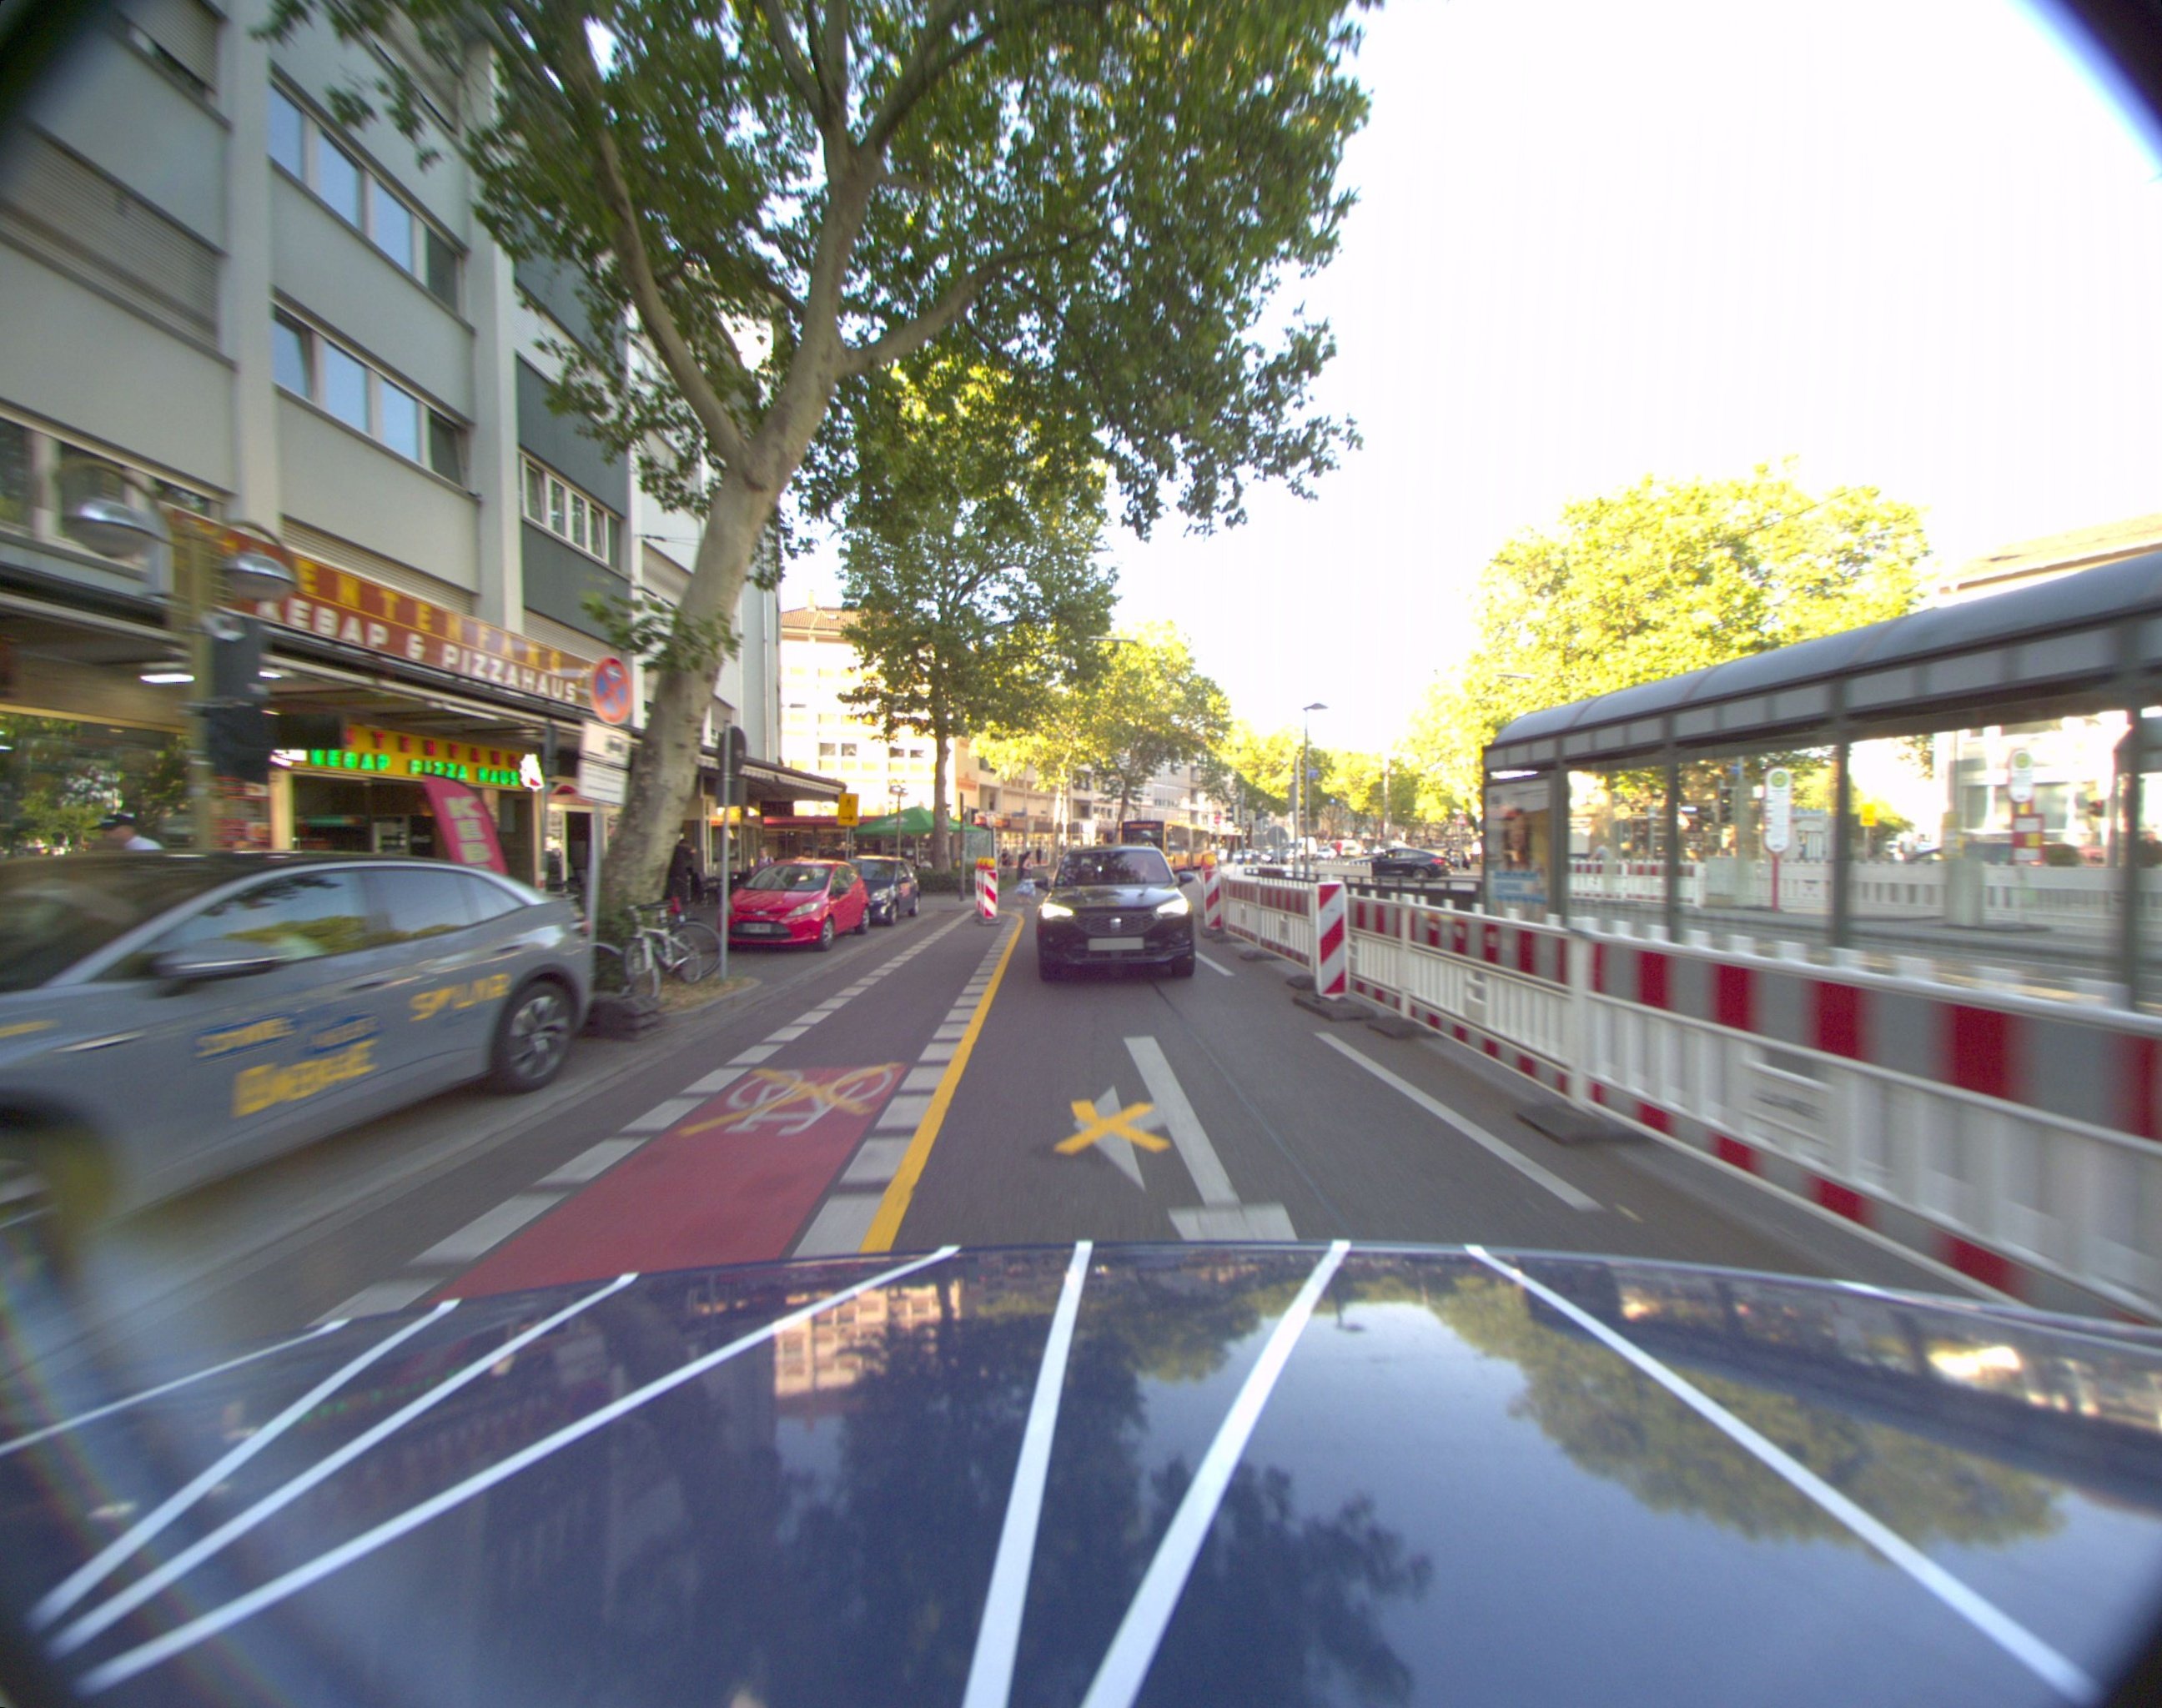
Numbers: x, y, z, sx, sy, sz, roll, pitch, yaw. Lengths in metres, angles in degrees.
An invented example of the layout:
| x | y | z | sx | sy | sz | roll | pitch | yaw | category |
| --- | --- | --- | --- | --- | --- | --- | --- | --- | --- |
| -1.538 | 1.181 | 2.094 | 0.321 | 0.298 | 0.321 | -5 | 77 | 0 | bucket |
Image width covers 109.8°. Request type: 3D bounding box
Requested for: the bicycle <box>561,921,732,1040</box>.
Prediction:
| x | y | z | sx | sy | sz | roll | pitch | yaw | category |
| --- | --- | --- | --- | --- | --- | --- | --- | --- | --- |
| -4.437 | 1.249 | 7.961 | 0.625 | 0.879 | 2.039 | 2 | 1 | 0 | bicycle |

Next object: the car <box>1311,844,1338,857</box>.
| x | y | z | sx | sy | sz | roll | pitch | yaw | category |
| --- | --- | --- | --- | --- | --- | --- | --- | --- | --- |
| 29.519 | -0.417 | 91.940 | 1.994 | 1.587 | 4.008 | 0 | 1 | 36 | car |

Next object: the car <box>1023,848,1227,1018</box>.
| x | y | z | sx | sy | sz | roll | pitch | yaw | category |
| --- | --- | --- | --- | --- | --- | --- | --- | --- | --- |
| 0.420 | 0.769 | 9.709 | 1.999 | 1.638 | 4.203 | -2 | 1 | -1 | car |

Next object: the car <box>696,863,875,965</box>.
| x | y | z | sx | sy | sz | roll | pitch | yaw | category |
| --- | --- | --- | --- | --- | --- | --- | --- | --- | --- |
| -4.937 | 0.924 | 13.303 | 1.735 | 1.434 | 3.982 | 1 | 0 | -3 | car |

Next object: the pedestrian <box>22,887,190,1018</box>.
| x | y | z | sx | sy | sz | roll | pitch | yaw | category |
| --- | --- | --- | --- | --- | --- | --- | --- | --- | --- |
| -9.353 | 0.920 | 7.320 | 0.677 | 1.170 | 0.710 | 0 | 1 | 0 | pedestrian |

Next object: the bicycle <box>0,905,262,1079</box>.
| x | y | z | sx | sy | sz | roll | pitch | yaw | category |
| --- | --- | --- | --- | --- | --- | --- | --- | --- | --- |
| -8.150 | 1.054 | 6.059 | 0.778 | 1.097 | 2.267 | 2 | 1 | 0 | bicycle |

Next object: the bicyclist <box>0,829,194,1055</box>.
| x | y | z | sx | sy | sz | roll | pitch | yaw | category |
| --- | --- | --- | --- | --- | --- | --- | --- | --- | --- |
| -8.136 | 0.668 | 6.210 | 0.771 | 1.699 | 0.829 | 2 | 1 | 0 | bicyclist |

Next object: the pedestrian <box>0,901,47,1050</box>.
| x | y | z | sx | sy | sz | roll | pitch | yaw | category |
| --- | --- | --- | --- | --- | --- | --- | --- | --- | --- |
| -9.318 | 1.022 | 6.225 | 0.677 | 1.220 | 0.710 | 0 | 1 | -2 | pedestrian |

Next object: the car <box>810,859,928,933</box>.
| x | y | z | sx | sy | sz | roll | pitch | yaw | category |
| --- | --- | --- | --- | --- | --- | --- | --- | --- | --- |
| -4.784 | 0.879 | 17.642 | 1.659 | 1.471 | 3.800 | 1 | 0 | 0 | car |

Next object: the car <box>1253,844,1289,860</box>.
| x | y | z | sx | sy | sz | roll | pitch | yaw | category |
| --- | --- | --- | --- | --- | --- | --- | --- | --- | --- |
| 19.104 | -0.218 | 76.282 | 1.994 | 1.587 | 4.570 | 0 | 1 | 36 | car |

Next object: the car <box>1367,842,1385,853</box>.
| x | y | z | sx | sy | sz | roll | pitch | yaw | category |
| --- | --- | --- | --- | --- | --- | --- | --- | --- | --- |
| 44.110 | -1.017 | 113.551 | 1.702 | 1.578 | 3.714 | 0 | 1 | 34 | car |

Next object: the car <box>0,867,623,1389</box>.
| x | y | z | sx | sy | sz | roll | pitch | yaw | category |
| --- | --- | --- | --- | --- | --- | --- | --- | --- | --- |
| -4.523 | 0.928 | 3.641 | 1.923 | 1.588 | 4.789 | 1 | 0 | -3 | car |

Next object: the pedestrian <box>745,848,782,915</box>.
| x | y | z | sx | sy | sz | roll | pitch | yaw | category |
| --- | --- | --- | --- | --- | --- | --- | --- | --- | --- |
| -7.598 | 0.641 | 18.217 | 0.584 | 1.551 | 0.642 | 2 | 1 | 2 | pedestrian |

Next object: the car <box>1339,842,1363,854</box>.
| x | y | z | sx | sy | sz | roll | pitch | yaw | category |
| --- | --- | --- | --- | --- | --- | --- | --- | --- | --- |
| 36.211 | -0.759 | 101.763 | 1.994 | 1.586 | 4.008 | 0 | 0 | 35 | car |

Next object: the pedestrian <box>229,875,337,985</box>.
| x | y | z | sx | sy | sz | roll | pitch | yaw | category |
| --- | --- | --- | --- | --- | --- | --- | --- | --- | --- |
| -9.592 | 0.898 | 9.150 | 0.646 | 1.258 | 0.606 | 0 | 1 | 0 | pedestrian |

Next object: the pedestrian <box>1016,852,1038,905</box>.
| x | y | z | sx | sy | sz | roll | pitch | yaw | category |
| --- | --- | --- | --- | --- | --- | --- | --- | --- | --- |
| -1.597 | 0.721 | 22.520 | 0.623 | 1.551 | 0.471 | -1 | 1 | -1 | pedestrian |

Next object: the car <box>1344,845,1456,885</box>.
| x | y | z | sx | sy | sz | roll | pitch | yaw | category |
| --- | --- | --- | --- | --- | --- | --- | --- | --- | --- |
| 14.874 | 0.465 | 35.517 | 4.424 | 1.638 | 2.004 | 2 | 1 | 35 | car |

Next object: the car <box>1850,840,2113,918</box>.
| x | y | z | sx | sy | sz | roll | pitch | yaw | category |
| --- | --- | --- | --- | --- | --- | --- | --- | --- | --- |
| 23.233 | 0.566 | 19.885 | 1.999 | 1.805 | 3.997 | -1 | 1 | -5 | car |

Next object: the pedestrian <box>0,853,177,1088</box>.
| x | y | z | sx | sy | sz | roll | pitch | yaw | category |
| --- | --- | --- | --- | --- | --- | --- | --- | --- | --- |
| -7.274 | 0.792 | 5.472 | 0.710 | 1.576 | 0.678 | 1 | 1 | -1 | pedestrian |

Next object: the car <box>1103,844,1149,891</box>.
| x | y | z | sx | sy | sz | roll | pitch | yaw | category |
| --- | --- | --- | --- | --- | --- | --- | --- | --- | --- |
| 1.754 | 0.462 | 28.707 | 1.610 | 1.618 | 3.679 | -1 | 1 | 5 | car |

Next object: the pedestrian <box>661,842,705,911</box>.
| x | y | z | sx | sy | sz | roll | pitch | yaw | category |
| --- | --- | --- | --- | --- | --- | --- | --- | --- | --- |
| -9.973 | 0.557 | 19.055 | 0.710 | 1.699 | 0.678 | -1 | 1 | 1 | pedestrian |

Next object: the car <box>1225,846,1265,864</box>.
| x | y | z | sx | sy | sz | roll | pitch | yaw | category |
| --- | --- | --- | --- | --- | --- | --- | --- | --- | --- |
| 15.216 | 0.057 | 70.322 | 1.994 | 1.587 | 4.570 | 0 | 1 | 36 | car |

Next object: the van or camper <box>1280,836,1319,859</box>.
| x | y | z | sx | sy | sz | roll | pitch | yaw | category |
| --- | --- | --- | --- | --- | --- | --- | --- | --- | --- |
| 24.369 | -0.767 | 84.526 | 2.285 | 2.524 | 5.506 | 0 | 1 | 37 | van or camper |

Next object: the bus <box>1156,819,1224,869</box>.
| x | y | z | sx | sy | sz | roll | pitch | yaw | category |
| --- | --- | --- | --- | --- | --- | --- | --- | --- | --- |
| 8.299 | -0.730 | 56.157 | 2.734 | 3.188 | 12.377 | -2 | 0 | 18 | bus |

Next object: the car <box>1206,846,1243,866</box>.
| x | y | z | sx | sy | sz | roll | pitch | yaw | category |
| --- | --- | --- | --- | --- | --- | --- | --- | --- | --- |
| 12.201 | 0.159 | 64.541 | 1.995 | 1.587 | 4.569 | 0 | 1 | 25 | car |

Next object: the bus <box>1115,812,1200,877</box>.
| x | y | z | sx | sy | sz | roll | pitch | yaw | category |
| --- | --- | --- | --- | --- | --- | --- | --- | --- | --- |
| 4.788 | -0.507 | 44.701 | 2.735 | 3.188 | 12.321 | -2 | 0 | 16 | bus |
